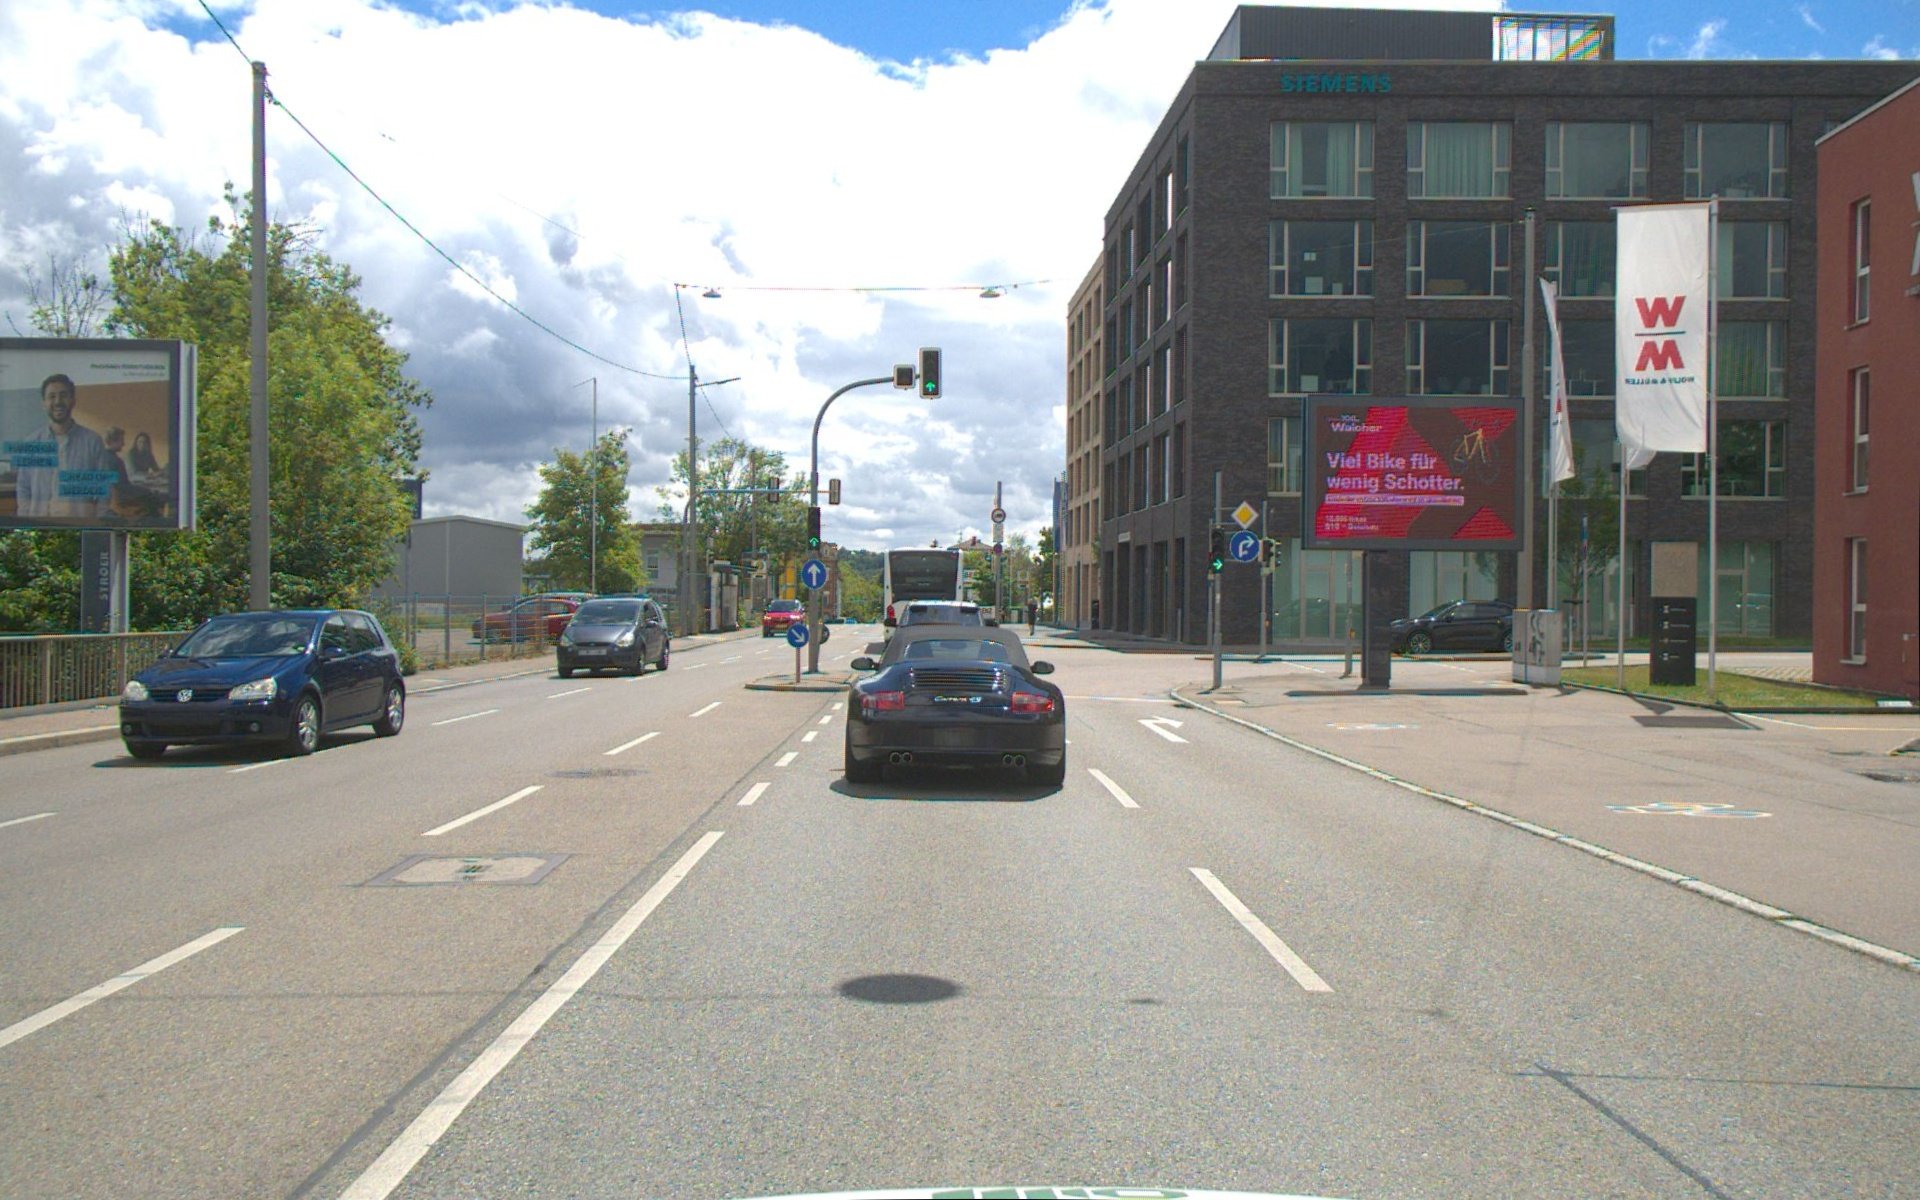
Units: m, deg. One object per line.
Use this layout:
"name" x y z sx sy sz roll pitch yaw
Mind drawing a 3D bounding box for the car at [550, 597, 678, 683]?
"car" -7.516 0.819 36.372 1.873 1.732 4.624 1 0 -1

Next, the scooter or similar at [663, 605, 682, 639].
"scooter or similar" -10.654 0.802 61.257 0.415 1.232 1.126 2 0 3

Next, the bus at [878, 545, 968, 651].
"bus" -1.191 -0.085 57.298 2.745 3.254 12.194 1 0 -1

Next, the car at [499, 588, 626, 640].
"car" -13.658 0.480 56.985 4.024 1.765 1.997 0 0 -6

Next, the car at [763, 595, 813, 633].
"car" -7.554 0.591 72.741 1.804 1.624 3.999 0 0 -1

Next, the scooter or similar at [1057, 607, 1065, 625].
"scooter or similar" 6.664 1.054 108.977 0.418 1.173 1.403 0 -1 -2

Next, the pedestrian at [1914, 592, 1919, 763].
"pedestrian" 10.205 0.791 16.924 0.698 1.737 0.630 1 0 26

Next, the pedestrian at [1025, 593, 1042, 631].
"pedestrian" 3.465 0.566 77.991 0.669 1.758 0.961 1 0 -2

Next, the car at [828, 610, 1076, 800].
"car" -0.097 0.822 14.851 1.891 1.401 4.207 1 0 -1

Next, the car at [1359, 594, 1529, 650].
"car" 14.588 0.644 50.010 4.546 1.647 1.999 0 0 -2

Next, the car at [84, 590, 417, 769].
"car" -7.282 0.731 17.444 1.818 1.646 3.999 1 0 -1

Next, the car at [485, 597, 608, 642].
"car" -13.514 0.623 54.210 3.782 1.444 1.898 0 0 -11

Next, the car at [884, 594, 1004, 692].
"car" -0.358 0.722 29.698 1.892 1.611 4.204 1 0 -4
